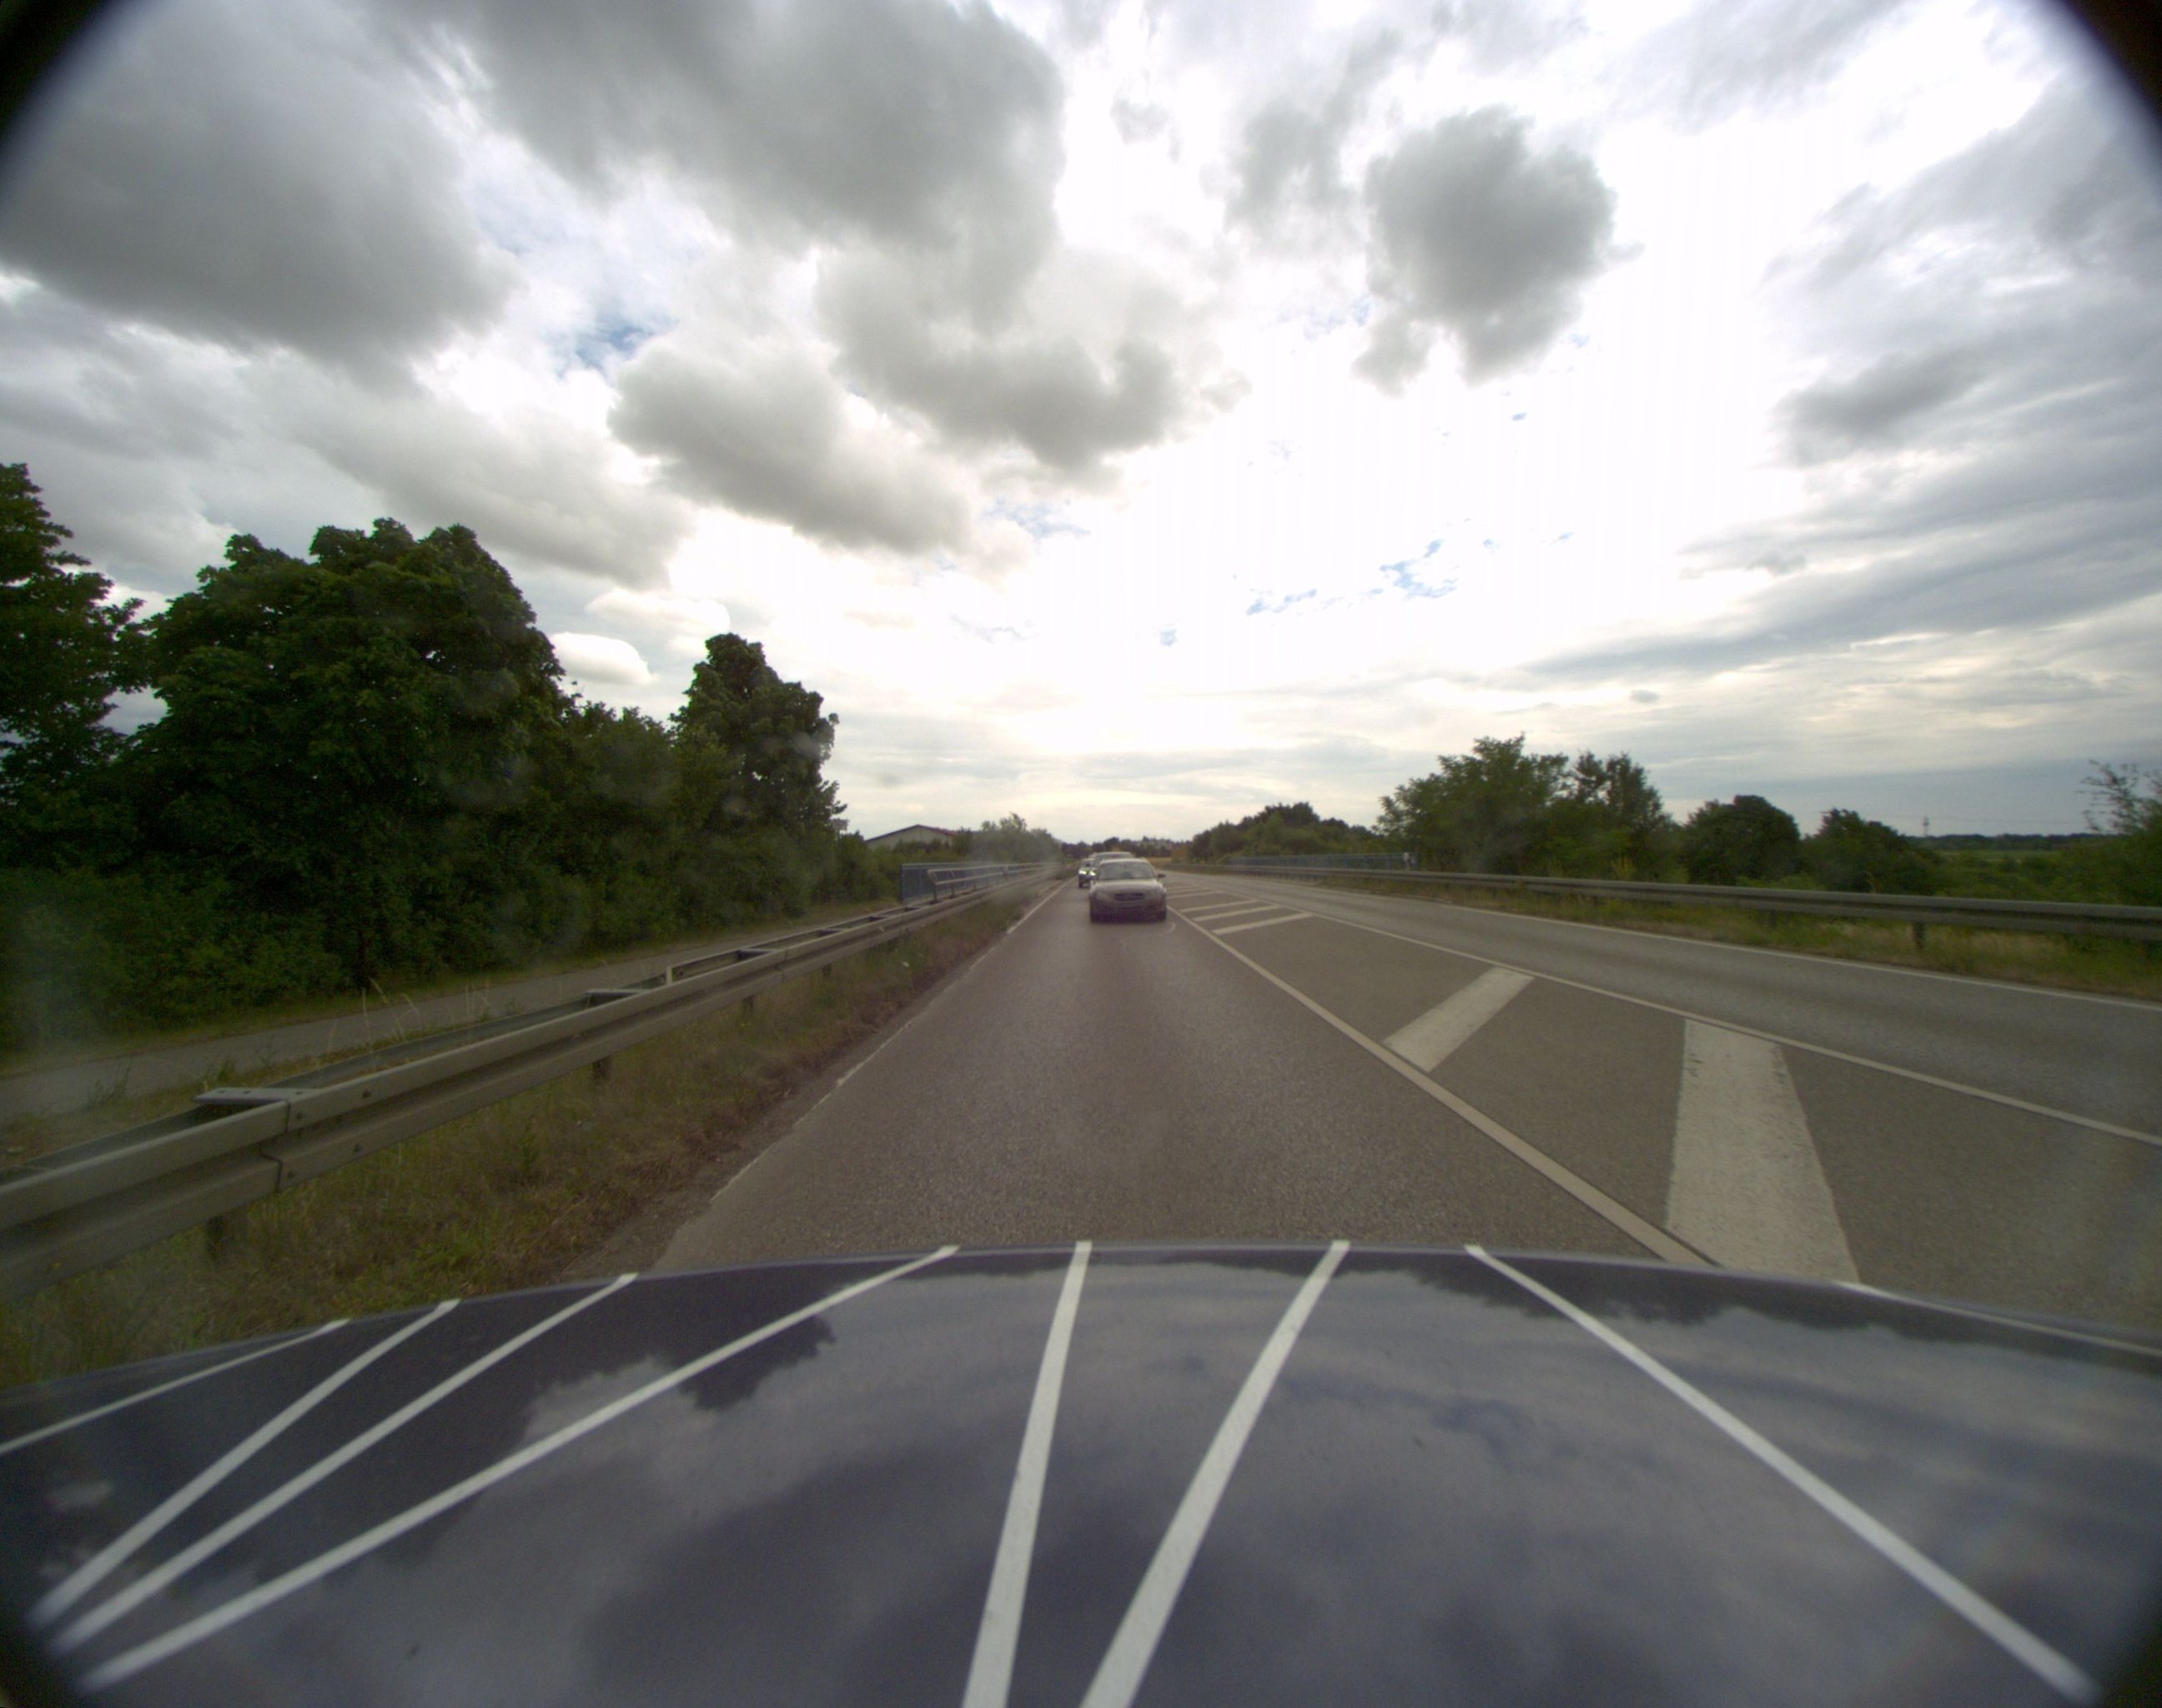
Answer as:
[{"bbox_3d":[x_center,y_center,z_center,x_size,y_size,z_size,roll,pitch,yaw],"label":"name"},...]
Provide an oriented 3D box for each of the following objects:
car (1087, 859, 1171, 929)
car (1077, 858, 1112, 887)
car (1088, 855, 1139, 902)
[{"bbox_3d":[1.063,0.879,18.401,1.768,1.383,3.876,-2,1,1],"label":"car"},{"bbox_3d":[0.712,0.946,40.241,1.670,1.339,4.000,-2,1,1],"label":"car"},{"bbox_3d":[1.135,0.840,28.137,1.684,1.521,4.000,-2,1,1],"label":"car"}]
